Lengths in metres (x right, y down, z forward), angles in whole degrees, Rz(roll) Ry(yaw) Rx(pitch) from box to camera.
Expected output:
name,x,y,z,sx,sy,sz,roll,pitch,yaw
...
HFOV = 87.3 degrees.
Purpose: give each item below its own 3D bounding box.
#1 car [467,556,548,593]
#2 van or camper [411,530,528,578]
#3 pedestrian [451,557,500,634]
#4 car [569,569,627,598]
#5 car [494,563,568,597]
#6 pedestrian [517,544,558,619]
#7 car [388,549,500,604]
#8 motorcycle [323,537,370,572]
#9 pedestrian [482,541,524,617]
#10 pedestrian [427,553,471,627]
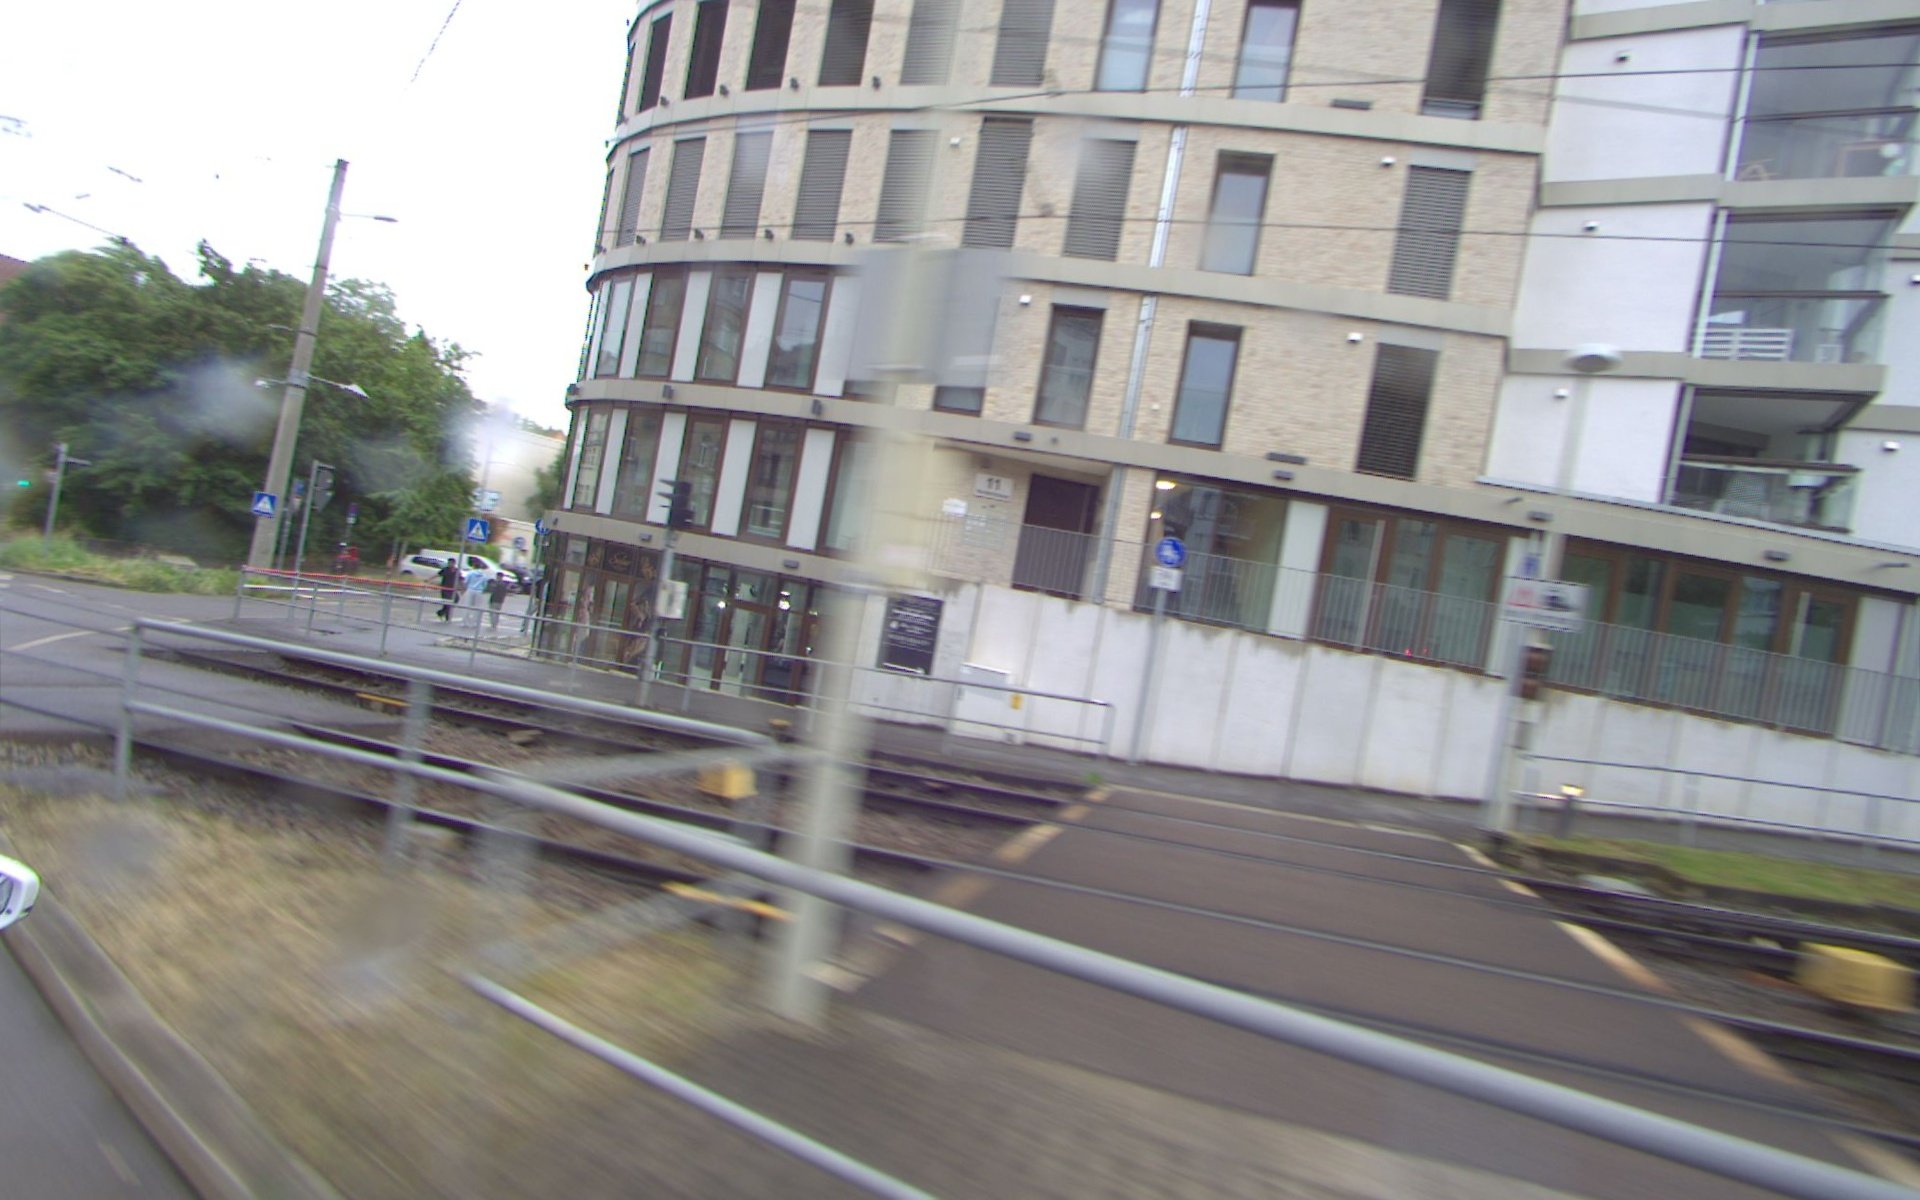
name,x,y,z,sx,sy,sz,roll,pitch,yaw
car,-26.694,-1.509,59.455,3.835,1.704,1.737,6,0,-5
van or camper,-26.101,-2.420,53.671,5.086,1.856,2.000,6,0,-2
pedestrian,-13.584,-0.113,28.209,0.877,2.038,0.656,7,1,31
car,-29.978,-1.373,83.416,3.930,1.793,1.846,9,0,-4
car,-26.951,-1.226,63.280,3.835,1.704,1.737,6,0,-5
pedestrian,-12.209,-0.535,29.080,0.878,2.040,0.590,8,3,40
car,-26.052,-1.166,50.928,4.433,2.036,1.999,8,-2,-8
motorcycle,-29.704,-2.200,48.777,0.812,1.389,2.428,12,-3,-7
pedestrian,-13.065,-0.600,28.766,0.879,2.038,0.591,7,1,40
pedestrian,-14.745,-0.284,29.054,0.774,2.038,0.682,7,1,38
